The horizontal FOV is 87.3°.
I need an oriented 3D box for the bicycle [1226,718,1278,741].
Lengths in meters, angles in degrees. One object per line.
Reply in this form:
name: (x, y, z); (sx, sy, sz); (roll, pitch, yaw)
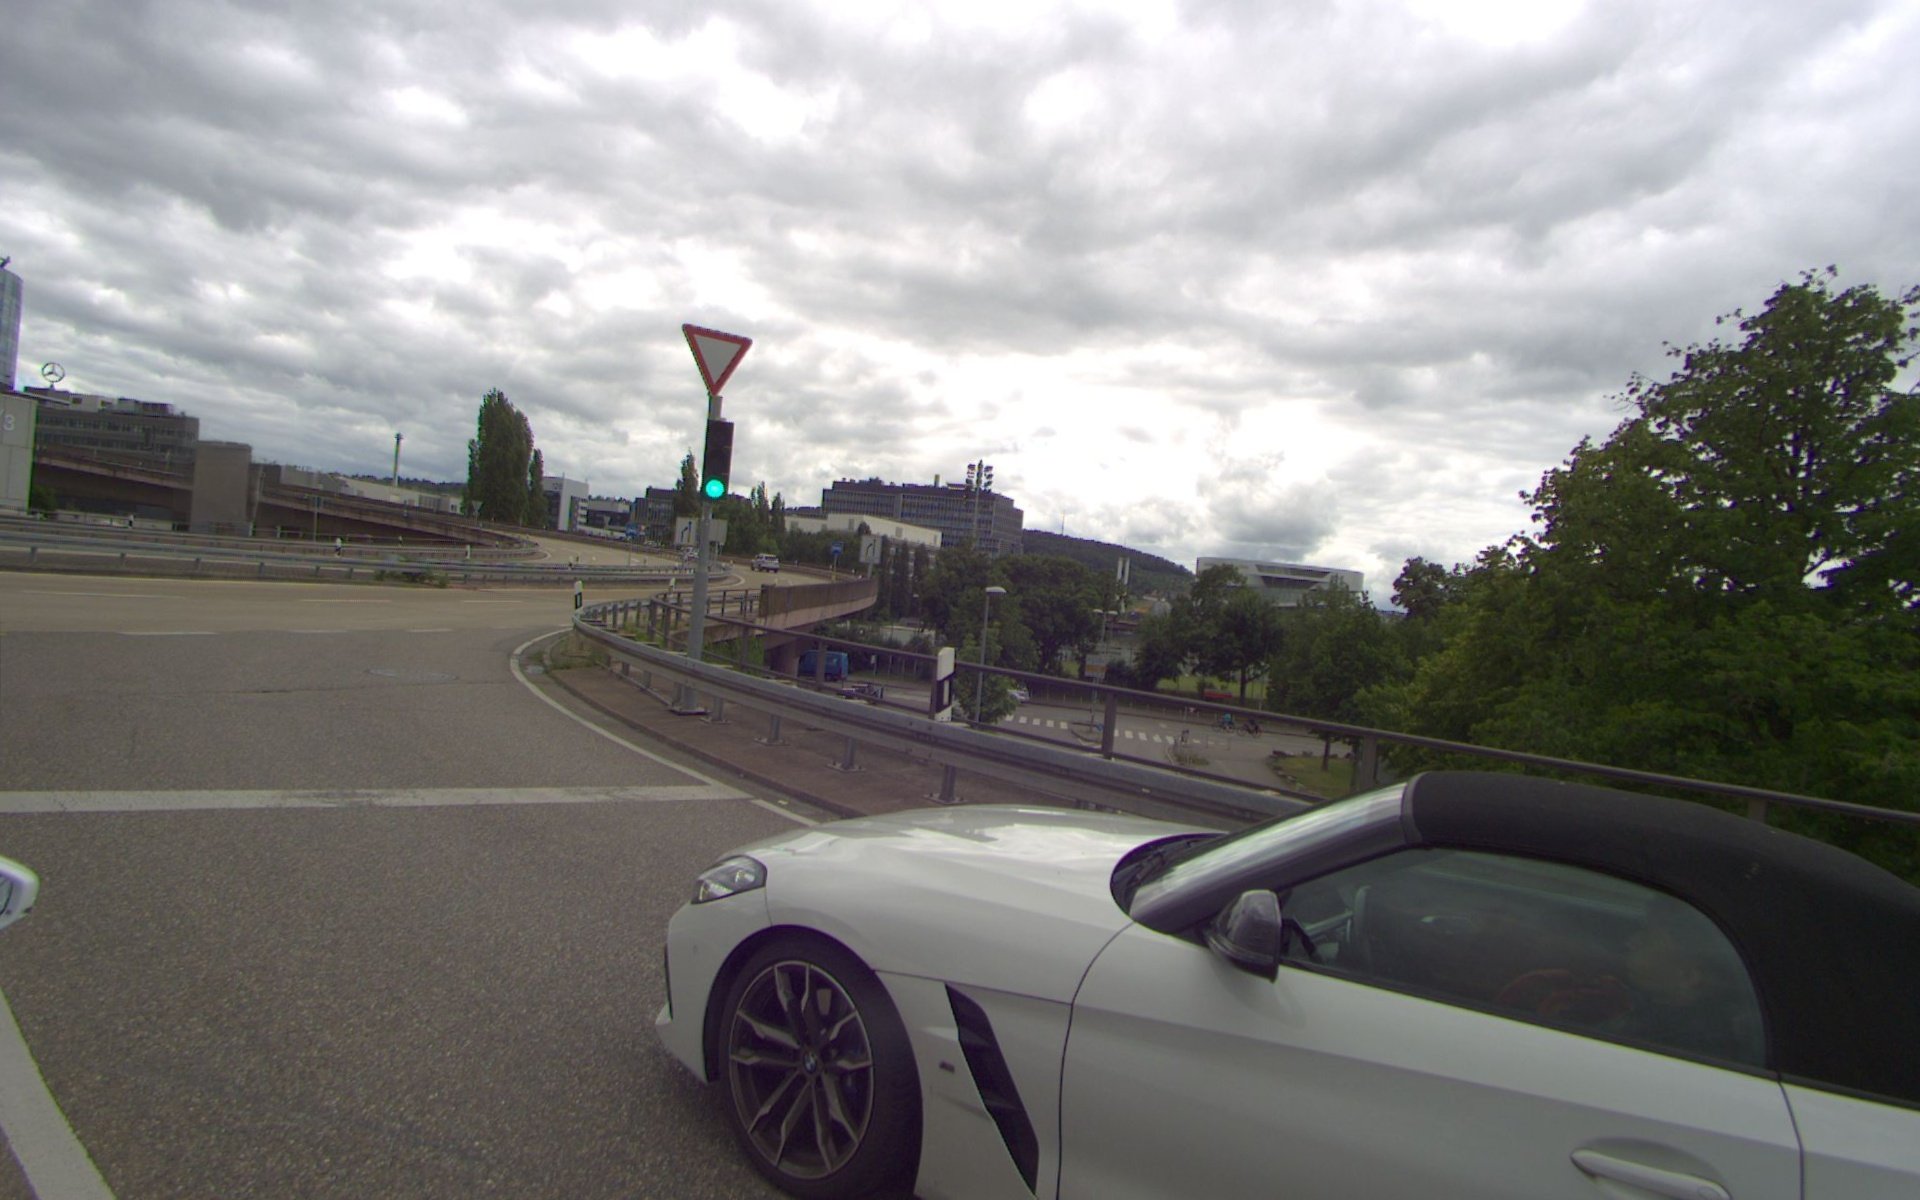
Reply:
bicycle: (23.259, 10.302, 80.174); (3.786, 1.189, 1.092); (10, -6, -4)

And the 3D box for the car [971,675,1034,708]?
car: (3.607, 7.756, 85.429); (4.774, 1.883, 2.017); (9, -2, 26)

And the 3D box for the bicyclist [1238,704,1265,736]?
bicyclist: (23.260, 9.558, 80.213); (1.554, 2.272, 1.092); (9, -5, -4)

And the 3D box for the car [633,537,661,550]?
car: (-41.422, -7.444, 133.072); (1.718, 1.480, 4.193); (4, 0, -44)

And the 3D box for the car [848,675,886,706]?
car: (-6.269, 6.133, 68.262); (1.792, 1.553, 4.000); (7, 0, 4)

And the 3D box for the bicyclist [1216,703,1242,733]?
bicyclist: (21.833, 9.584, 81.757); (1.539, 2.114, 1.093); (9, -5, -2)

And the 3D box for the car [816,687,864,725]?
car: (-6.812, 6.019, 57.313); (1.792, 1.553, 4.000); (7, 0, 4)

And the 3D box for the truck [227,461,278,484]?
truck: (-102.563, -18.487, 145.855); (1.965, 2.188, 5.637); (6, -2, 28)

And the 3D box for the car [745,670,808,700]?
car: (-12.477, 5.766, 68.555); (3.792, 1.371, 1.826); (8, 0, 0)

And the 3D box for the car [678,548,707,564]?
car: (-28.290, -4.645, 106.446); (1.713, 1.417, 4.030); (7, -1, -33)

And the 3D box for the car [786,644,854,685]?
car: (-12.437, 5.733, 89.304); (5.289, 2.617, 2.019); (10, -2, 10)

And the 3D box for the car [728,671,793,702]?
car: (-13.016, 5.647, 65.762); (3.792, 1.371, 1.826); (8, 0, 0)

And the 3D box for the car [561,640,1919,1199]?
car: (1.114, 1.059, 2.683); (4.193, 1.306, 1.809); (6, -2, 32)

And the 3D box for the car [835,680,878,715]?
car: (-6.396, 6.049, 62.664); (1.792, 1.553, 4.196); (7, 0, 4)

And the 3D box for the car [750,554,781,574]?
car: (-18.853, -3.498, 97.330); (1.708, 1.758, 4.528); (7, -1, -25)

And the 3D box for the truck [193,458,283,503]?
truck: (-77.913, -12.854, 108.735); (7.249, 3.307, 2.320); (8, -2, -21)

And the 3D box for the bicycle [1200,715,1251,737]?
bicycle: (21.529, 10.226, 81.690); (3.785, 1.189, 1.093); (10, -5, -2)
